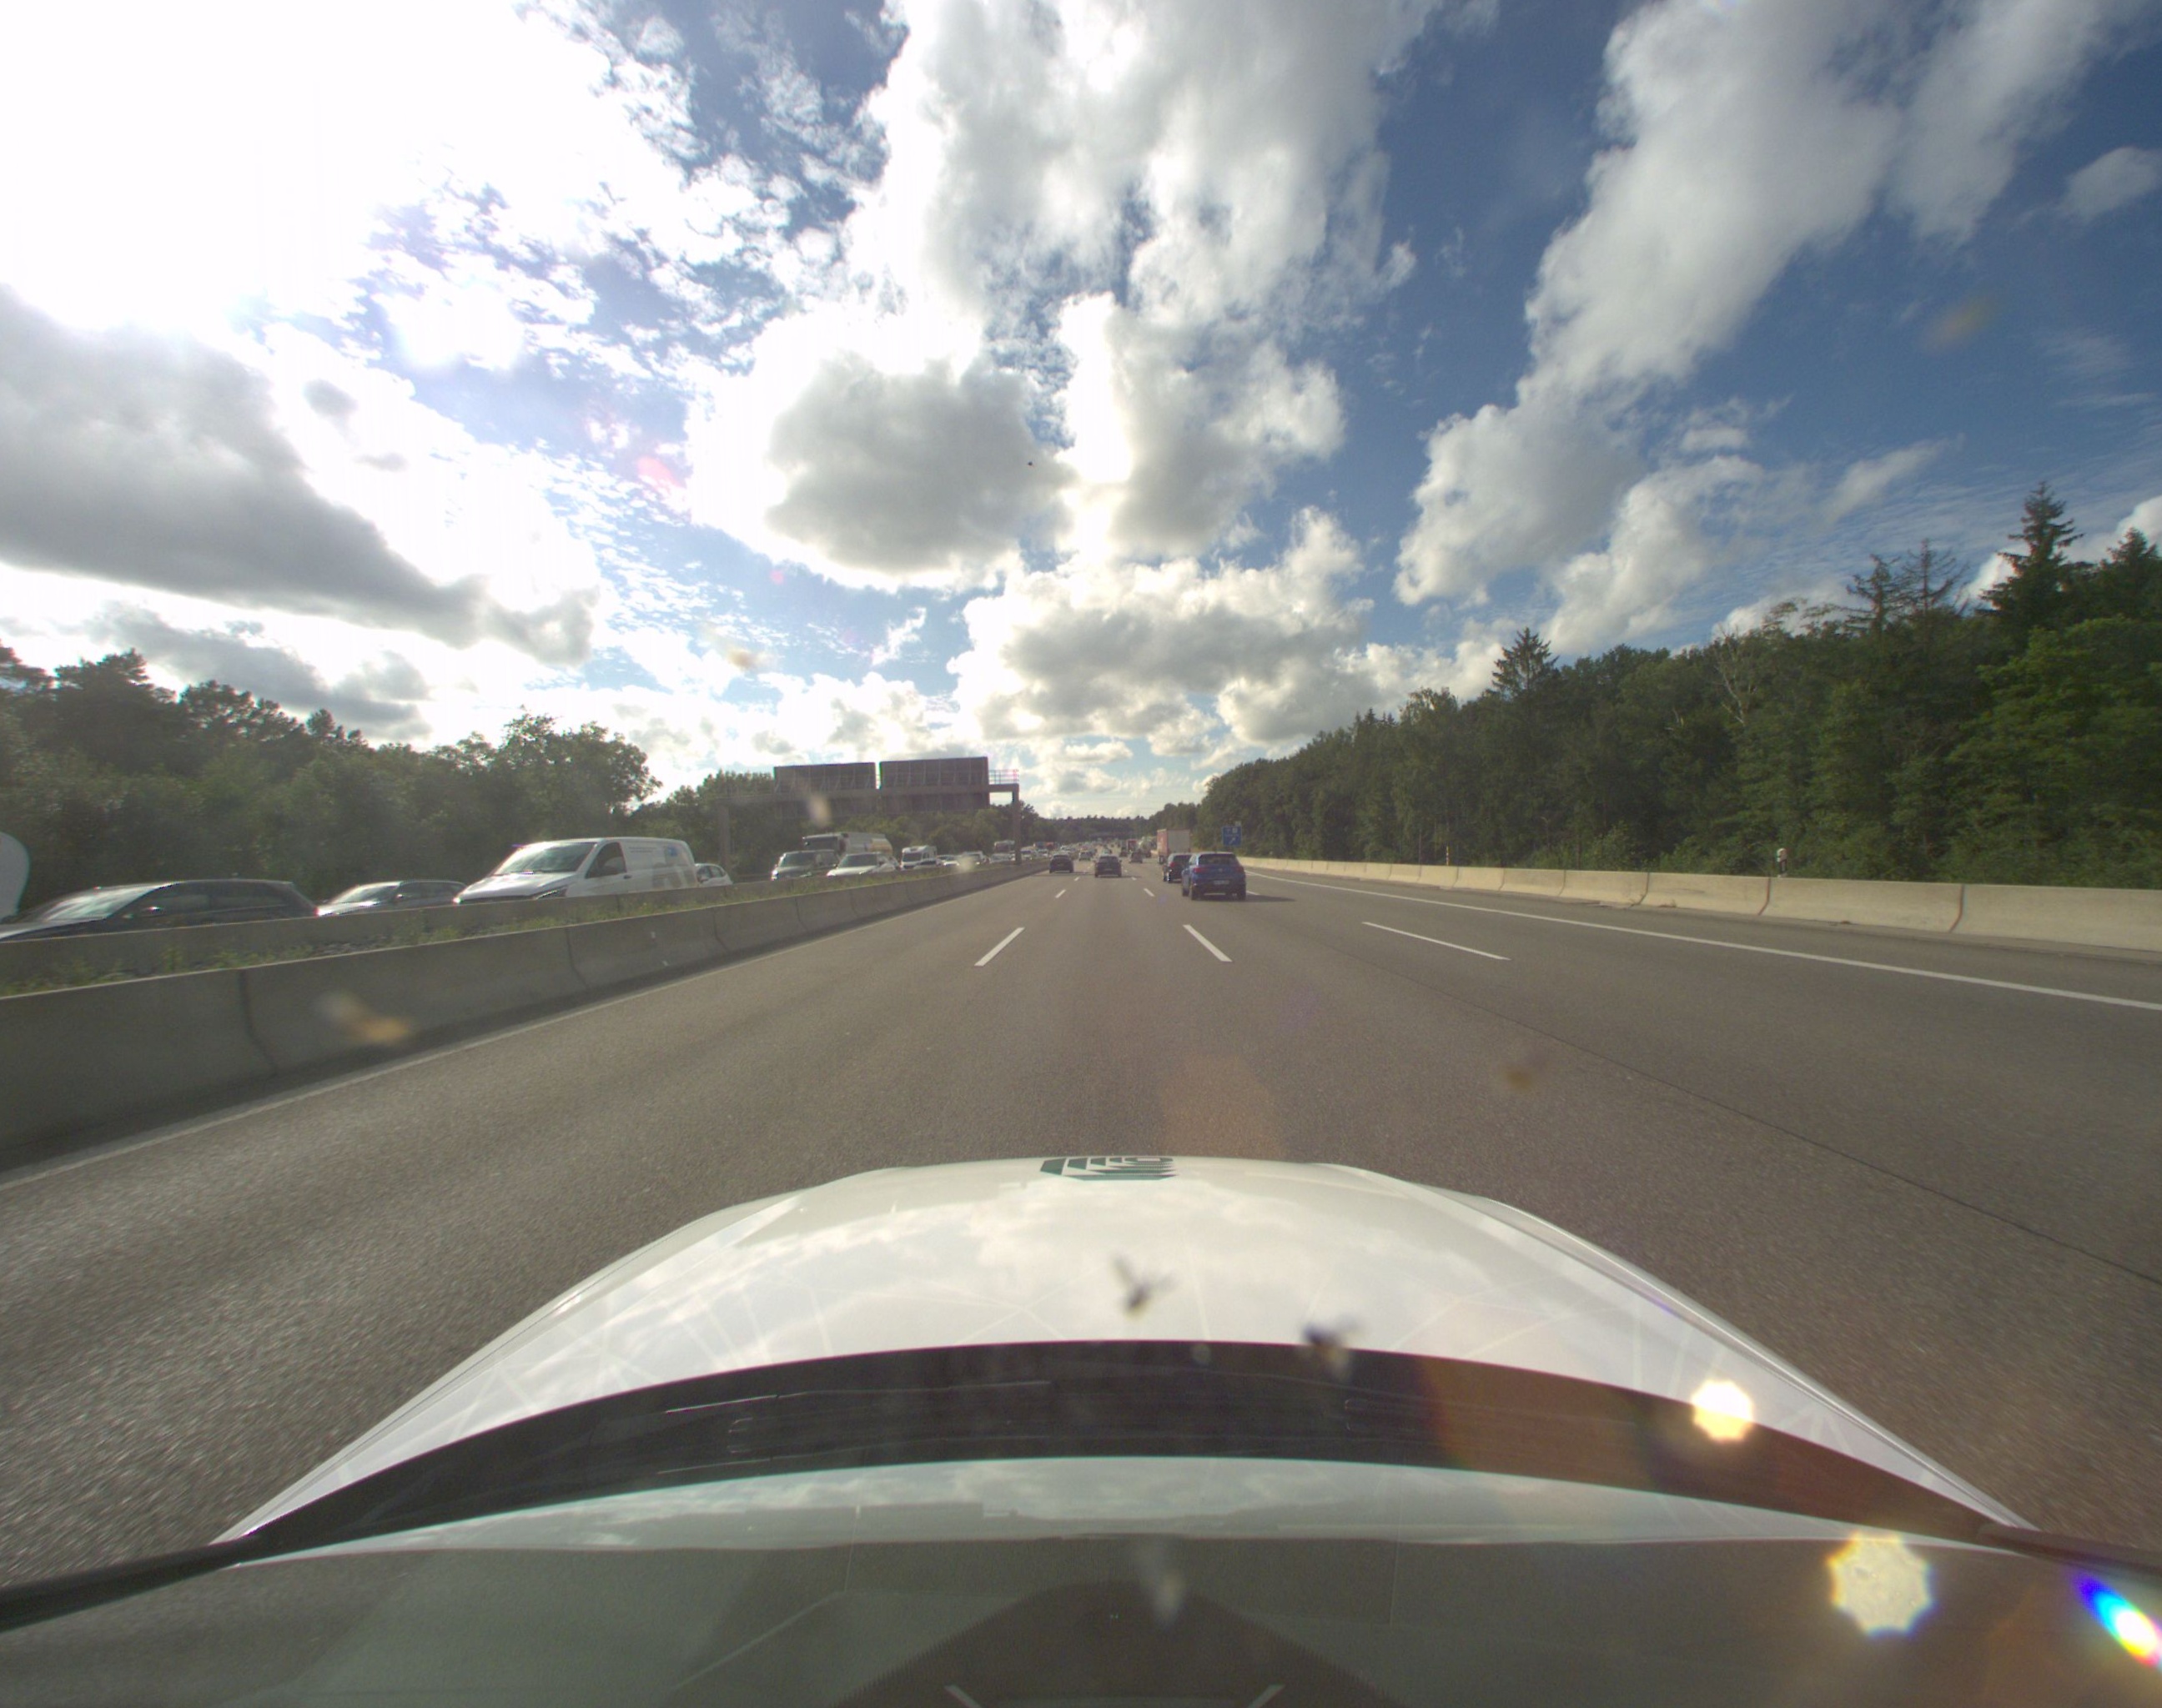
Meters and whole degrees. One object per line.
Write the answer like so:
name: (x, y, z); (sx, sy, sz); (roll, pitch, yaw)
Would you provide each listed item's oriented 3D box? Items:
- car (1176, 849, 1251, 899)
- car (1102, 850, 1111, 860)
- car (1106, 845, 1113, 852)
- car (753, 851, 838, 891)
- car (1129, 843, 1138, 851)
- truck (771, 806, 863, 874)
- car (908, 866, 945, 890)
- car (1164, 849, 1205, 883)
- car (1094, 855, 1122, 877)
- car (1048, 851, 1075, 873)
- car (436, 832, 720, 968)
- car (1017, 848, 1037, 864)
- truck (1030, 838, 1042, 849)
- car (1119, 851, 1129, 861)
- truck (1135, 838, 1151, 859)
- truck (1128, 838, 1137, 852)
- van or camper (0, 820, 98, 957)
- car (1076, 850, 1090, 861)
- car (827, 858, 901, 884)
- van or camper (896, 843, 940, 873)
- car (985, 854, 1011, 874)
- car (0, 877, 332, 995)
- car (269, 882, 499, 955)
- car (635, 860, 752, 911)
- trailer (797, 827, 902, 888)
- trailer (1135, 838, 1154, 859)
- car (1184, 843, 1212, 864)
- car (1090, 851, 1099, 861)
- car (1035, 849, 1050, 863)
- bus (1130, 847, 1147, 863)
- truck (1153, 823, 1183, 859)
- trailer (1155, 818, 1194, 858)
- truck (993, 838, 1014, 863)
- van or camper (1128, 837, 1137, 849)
car: (4.395, 0.602, 27.665); (1.917, 1.541, 4.647); (0, 0, 2)
car: (6.002, 0.234, 189.668); (1.986, 2.014, 4.001); (-2, -1, 1)
car: (8.450, -1.507, 242.138); (1.986, 2.013, 4.001); (0, 0, 1)
car: (-12.563, 0.709, 36.158); (2.000, 1.655, 4.784); (0, 0, 1)
car: (12.761, -1.666, 198.675); (1.986, 2.014, 4.001); (-1, -1, 1)
truck: (-16.417, -0.802, 51.229); (3.404, 3.900, 6.803); (-1, 0, 1)
car: (-11.742, 1.811, 62.041); (1.793, 1.631, 4.664); (1, 0, 2)
car: (5.268, 0.589, 41.973); (1.792, 1.644, 4.003); (0, 0, 3)
car: (1.726, 0.763, 53.250); (1.728, 1.365, 4.001); (0, 0, 1)
car: (-1.552, 0.654, 67.032); (1.986, 1.776, 4.002); (0, 0, 2)
car: (-9.138, 0.720, 15.566); (1.825, 2.062, 5.502); (-2, 0, 1)
car: (-6.536, 0.234, 99.104); (2.079, 1.801, 4.180); (0, 0, 1)
truck: (-10.912, -2.547, 199.028); (2.320, 2.801, 7.951); (0, 0, 1)
car: (9.180, 0.475, 174.715); (1.986, 2.013, 4.001); (0, 0, 1)
truck: (13.011, -1.161, 171.243); (3.034, 4.160, 7.129); (-1, 0, 2)
truck: (14.184, -2.297, 223.845); (2.348, 3.572, 11.274); (-1, -1, 3)
van or camper: (-17.044, 0.509, 10.780); (2.275, 2.011, 4.690); (0, 0, 2)
car: (0.398, 0.282, 137.593); (2.146, 1.776, 4.002); (0, 0, 2)
car: (-8.501, 0.639, 32.241); (1.637, 0.940, 4.489); (0, 0, 1)
van or camper: (-15.068, 0.427, 75.835); (2.316, 2.643, 7.400); (-1, -1, 2)
car: (-7.738, 0.924, 76.551); (1.760, 1.798, 4.940); (-1, 0, 2)
car: (-12.767, 0.994, 11.144); (1.657, 1.257, 3.591); (0, 0, 1)
car: (-16.571, 1.464, 19.737); (1.693, 1.390, 4.436); (0, 0, 1)
car: (-12.837, 1.000, 27.302); (1.825, 1.537, 4.244); (0, 0, 1)
trailer: (-16.217, 0.213, 58.523); (3.399, 3.828, 13.265); (-1, 0, 1)
trailer: (12.860, -1.097, 165.375); (3.025, 4.016, 12.247); (-1, 0, 1)
car: (8.948, -0.054, 62.494); (1.708, 1.511, 4.304); (-2, 0, 2)
car: (2.864, 0.477, 174.330); (1.986, 2.014, 4.001); (-1, -1, 1)
car: (-5.938, 0.403, 126.320); (1.986, 2.100, 5.280); (-1, -1, 2)
bus: (7.680, 0.147, 108.979); (1.986, 2.014, 4.001); (-1, -1, 2)
truck: (10.478, -1.491, 98.198); (3.069, 4.063, 6.071); (-1, -1, 1)
trailer: (10.320, -1.646, 91.335); (3.027, 4.035, 13.893); (-1, -1, 1)
truck: (-13.230, -0.541, 139.992); (2.842, 4.234, 5.715); (0, 0, 2)
van or camper: (14.516, -3.067, 230.678); (2.342, 3.144, 5.714); (-1, -1, 3)
